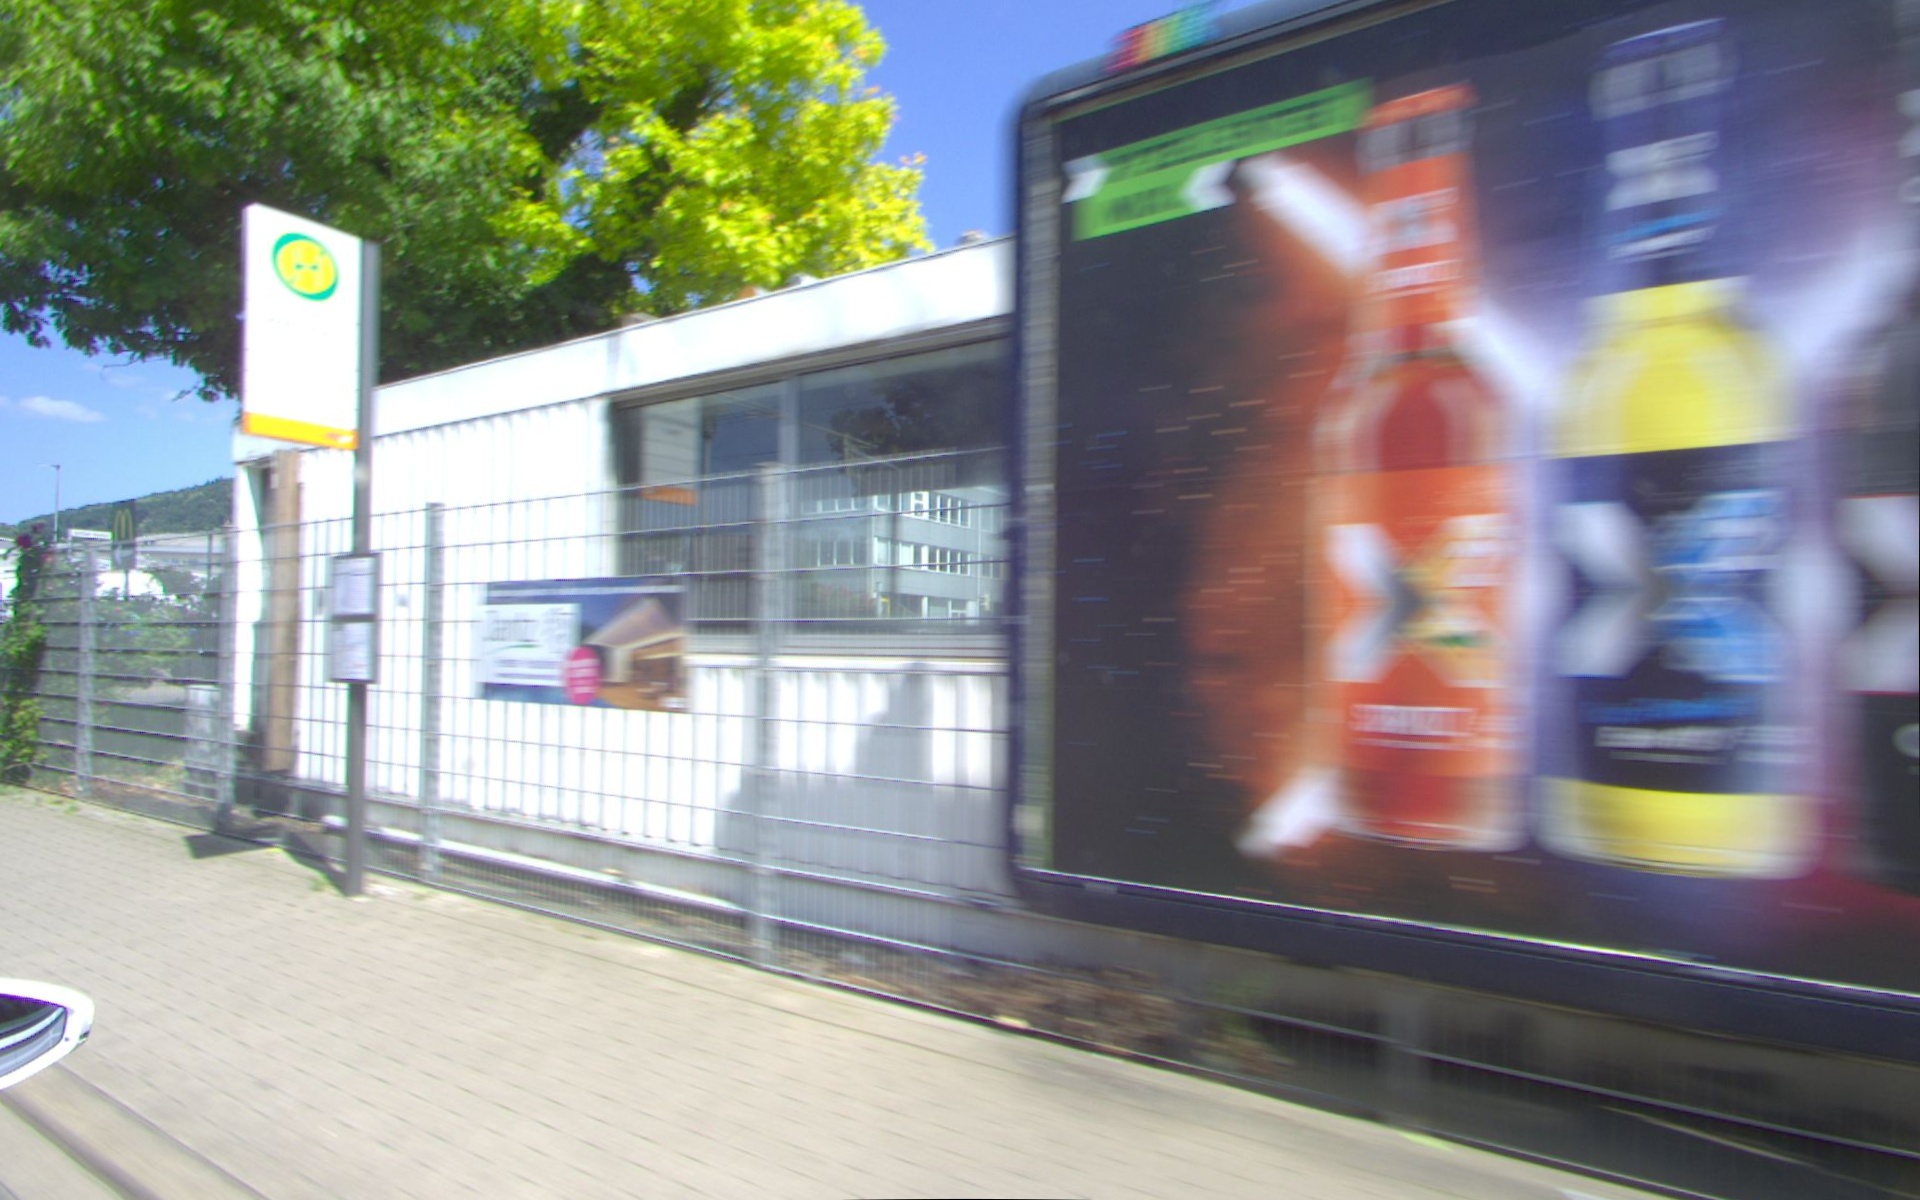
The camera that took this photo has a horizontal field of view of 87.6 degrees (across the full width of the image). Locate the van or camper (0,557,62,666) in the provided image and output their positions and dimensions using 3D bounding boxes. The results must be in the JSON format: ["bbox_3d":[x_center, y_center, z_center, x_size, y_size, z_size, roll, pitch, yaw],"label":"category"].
[{"bbox_3d":[-26.613,0.225,25.072,2.062,2.809,5.797,1,-2,35],"label":"van or camper"}]

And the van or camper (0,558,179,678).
[{"bbox_3d":[-23.276,0.436,25.026,2.020,2.850,5.493,2,-2,36],"label":"van or camper"}]

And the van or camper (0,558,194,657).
[{"bbox_3d":[-29.158,0.274,32.038,2.302,2.984,7.049,-1,-1,32],"label":"van or camper"}]
